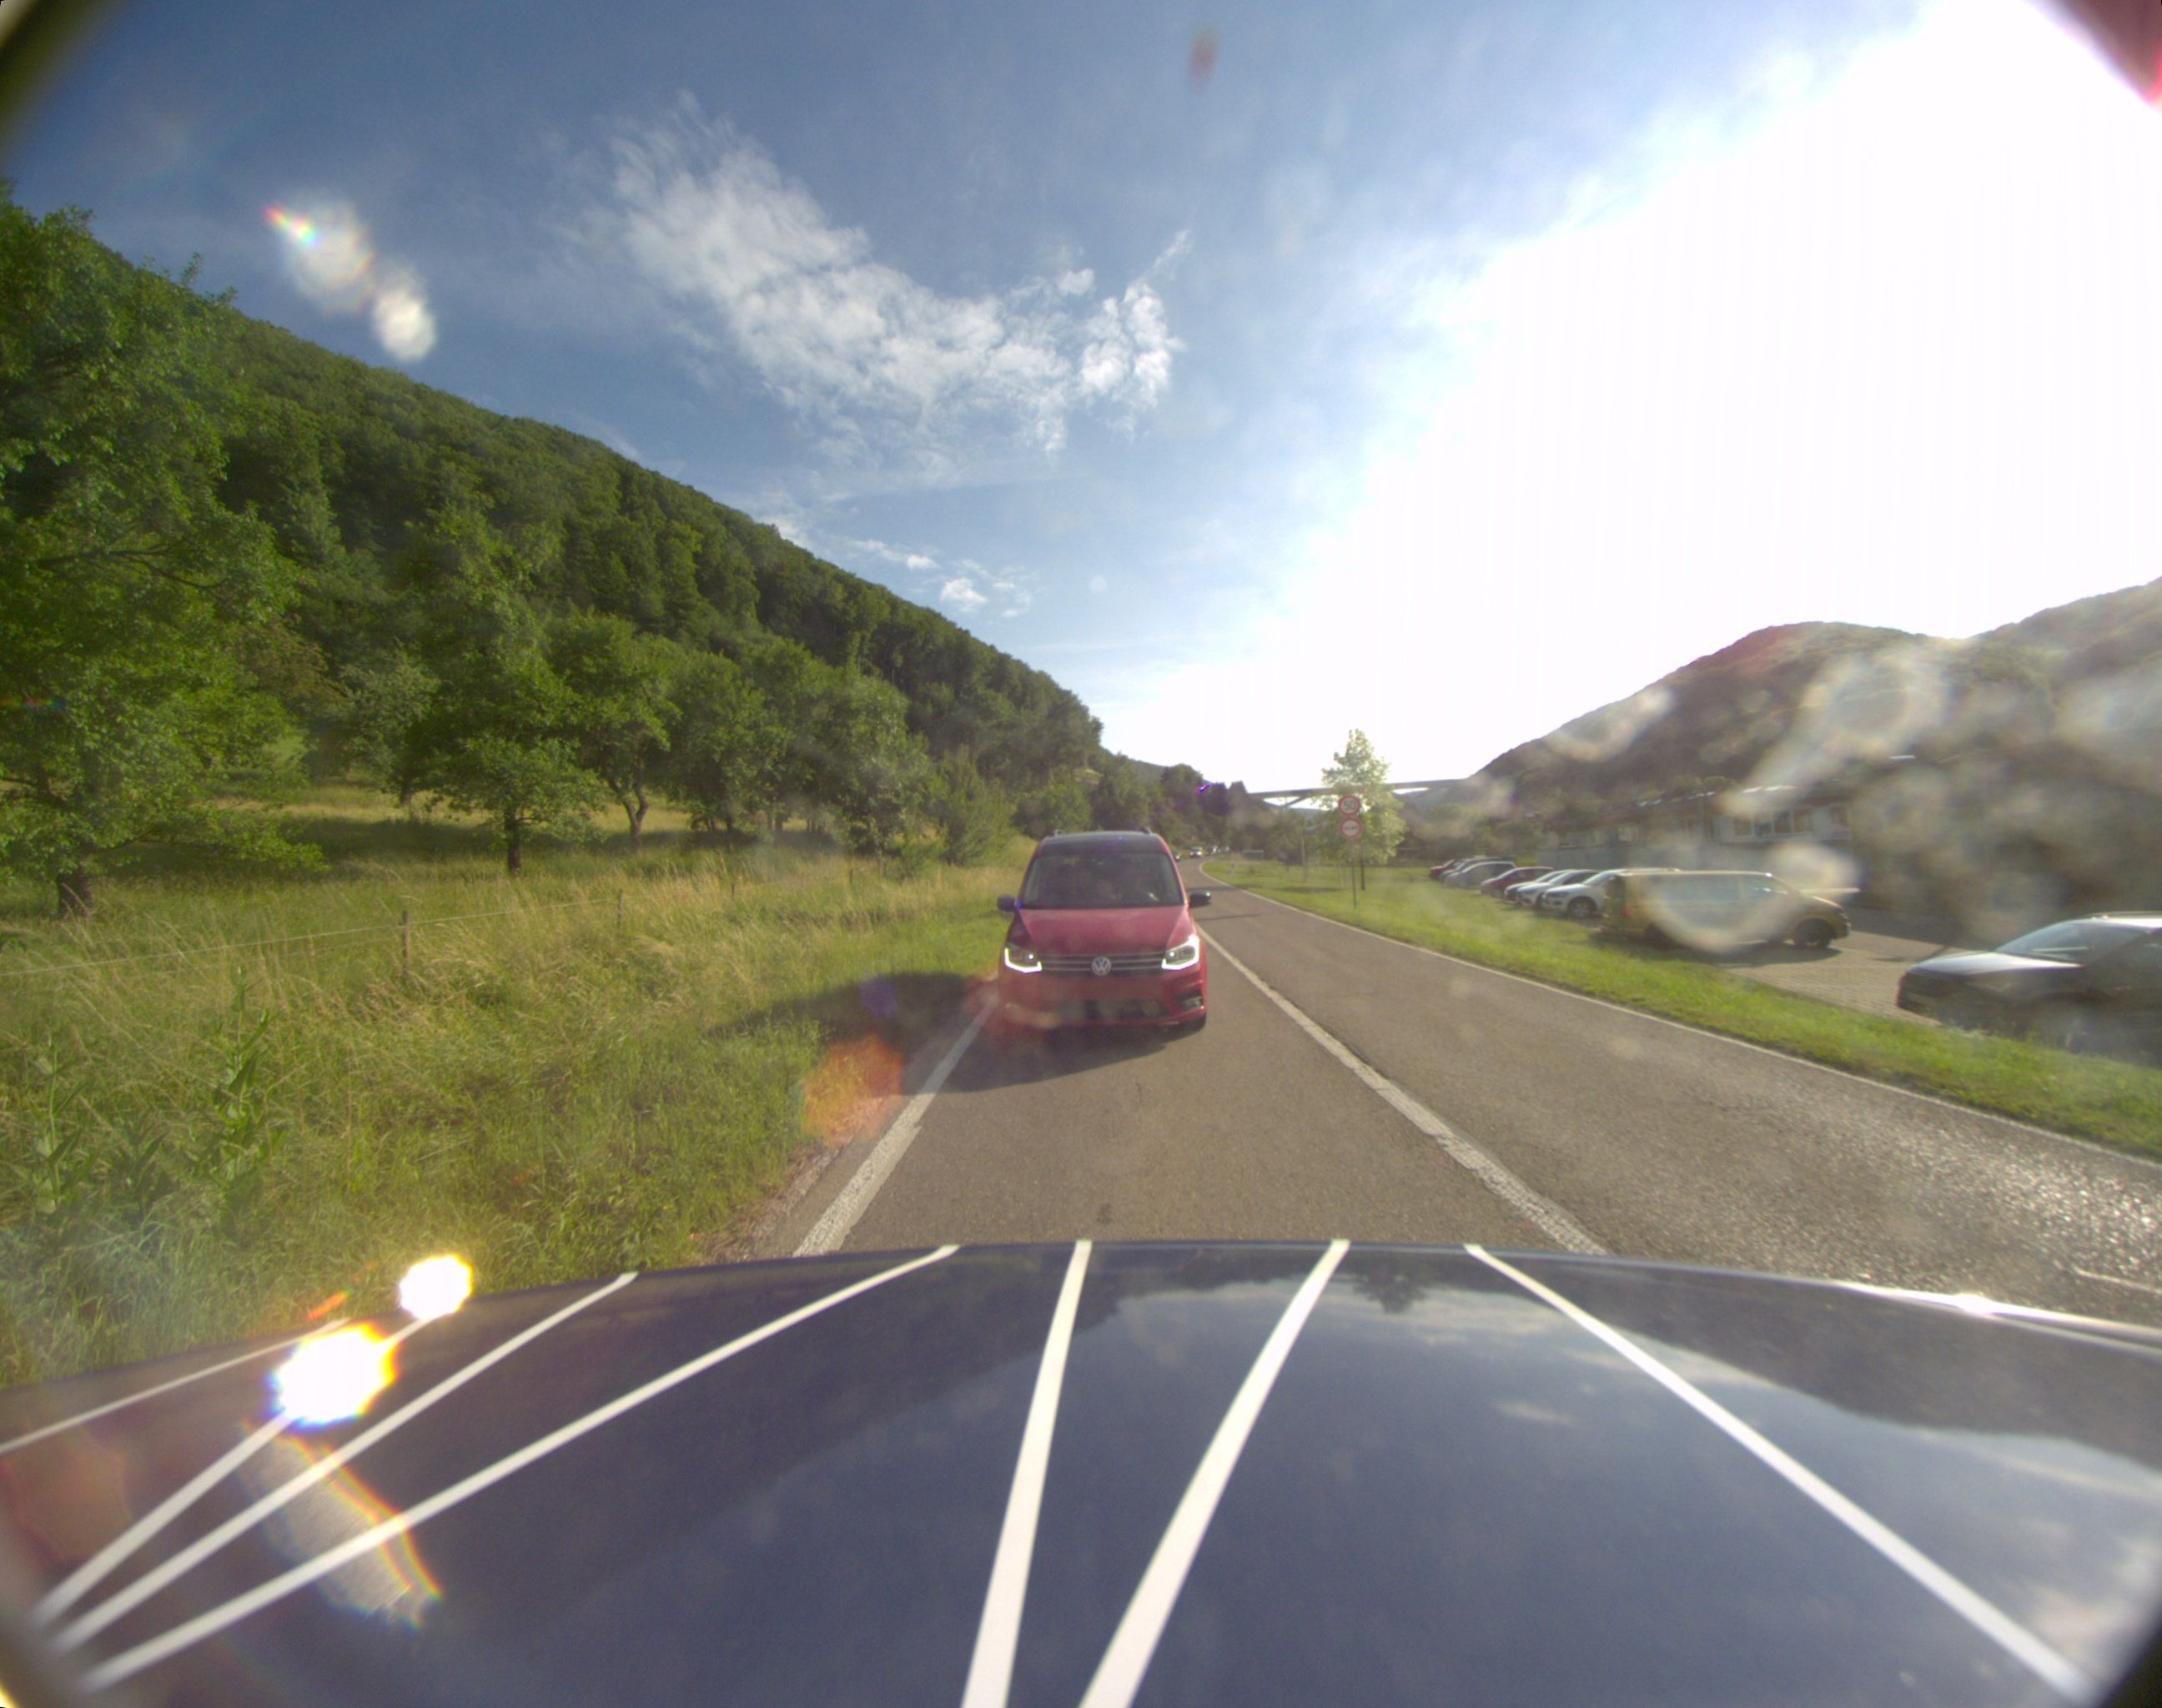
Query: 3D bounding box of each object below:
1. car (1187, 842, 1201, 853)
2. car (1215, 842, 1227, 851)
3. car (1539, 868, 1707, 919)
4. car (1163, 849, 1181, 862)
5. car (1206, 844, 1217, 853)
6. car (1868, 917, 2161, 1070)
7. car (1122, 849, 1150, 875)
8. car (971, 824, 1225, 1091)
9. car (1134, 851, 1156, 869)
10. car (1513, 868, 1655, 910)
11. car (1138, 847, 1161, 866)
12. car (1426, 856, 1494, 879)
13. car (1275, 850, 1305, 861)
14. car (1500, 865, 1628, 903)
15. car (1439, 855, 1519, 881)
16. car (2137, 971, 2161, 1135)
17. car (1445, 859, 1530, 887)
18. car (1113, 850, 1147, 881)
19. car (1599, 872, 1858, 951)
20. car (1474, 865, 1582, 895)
[{"bbox_3d":[19.119,-1.022,128.648,1.796,1.725,4.288,-2,0,16],"label":"car"},{"bbox_3d":[30.288,-1.636,163.972,1.996,1.706,4.006,-2,-1,18],"label":"car"},{"bbox_3d":[19.332,1.380,27.366,4.545,1.691,2.003,-1,0,20],"label":"car"},{"bbox_3d":[12.278,0.172,102.530,1.911,1.675,4.004,-2,-1,13],"label":"car"},{"bbox_3d":[25.607,-1.089,148.757,1.676,1.637,3.350,-2,0,18],"label":"car"},{"bbox_3d":[13.538,1.726,9.810,4.289,1.628,1.915,-3,0,15],"label":"car"},{"bbox_3d":[3.932,0.590,54.314,1.901,1.717,4.001,-2,0,4],"label":"car"},{"bbox_3d":[0.148,0.759,7.582,1.747,1.849,4.348,-2,0,1],"label":"car"},{"bbox_3d":[5.531,0.531,65.585,1.798,1.464,4.285,-2,0,5],"label":"car"},{"bbox_3d":[20.207,1.384,30.764,4.437,1.577,2.003,-1,0,20],"label":"car"},{"bbox_3d":[6.956,0.241,77.134,1.997,1.838,4.003,-2,0,8],"label":"car"},{"bbox_3d":[28.901,1.048,58.077,4.437,1.709,2.003,-1,0,18],"label":"car"},{"bbox_3d":[30.368,0.157,110.522,4.783,1.518,1.994,-1,0,-44],"label":"car"},{"bbox_3d":[21.417,1.337,33.919,4.437,1.573,2.003,-1,0,18],"label":"car"},{"bbox_3d":[27.611,0.949,52.903,4.665,1.752,2.003,-1,0,18],"label":"car"},{"bbox_3d":[12.028,1.818,5.690,4.645,1.488,1.915,-1,0,15],"label":"car"},{"bbox_3d":[25.813,1.207,48.441,4.437,1.573,2.003,-2,0,18],"label":"car"},{"bbox_3d":[2.666,0.614,41.425,1.693,1.539,4.001,-2,0,3],"label":"car"},{"bbox_3d":[16.340,1.397,19.516,4.653,1.802,2.003,-1,0,20],"label":"car"},{"bbox_3d":[22.710,1.323,38.794,4.437,1.443,2.003,-1,0,20],"label":"car"}]
